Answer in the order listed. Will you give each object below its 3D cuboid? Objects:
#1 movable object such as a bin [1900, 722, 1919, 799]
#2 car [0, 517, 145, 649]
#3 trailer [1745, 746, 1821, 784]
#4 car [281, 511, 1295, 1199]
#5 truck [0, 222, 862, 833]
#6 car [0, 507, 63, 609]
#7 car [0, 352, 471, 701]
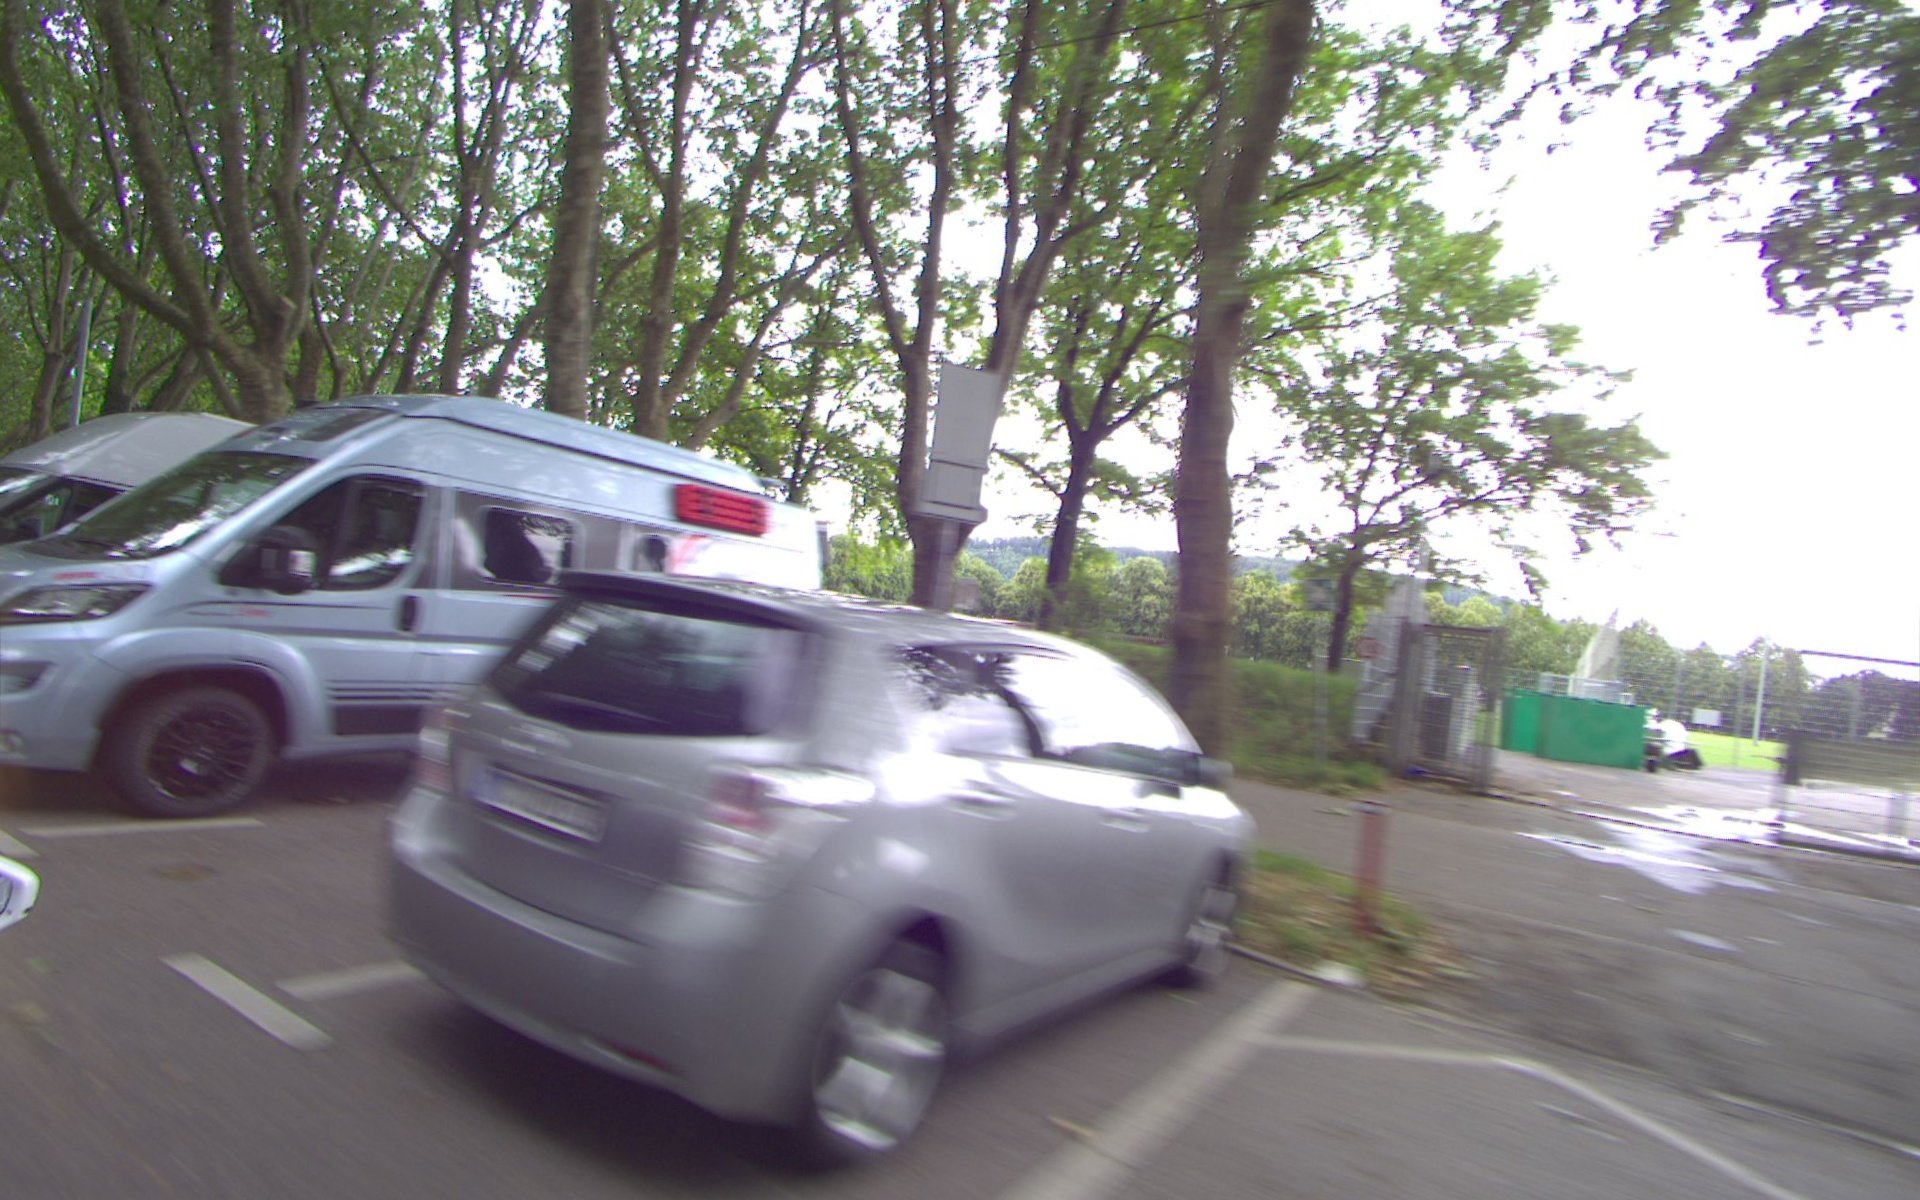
[{"bbox_3d":[23.916,3.944,23.142,2.786,1.787,1.650,7,-2,10],"label":"movable object such as a bin"},{"bbox_3d":[-12.608,-0.433,11.935,1.675,1.443,4.131,6,-5,33],"label":"car"},{"bbox_3d":[20.712,4.124,25.382,1.190,0.698,2.874,6,-3,35],"label":"trailer"},{"bbox_3d":[-0.094,0.886,4.458,1.775,1.635,4.349,6,-4,34],"label":"car"},{"bbox_3d":[-3.583,-0.075,7.693,2.063,2.745,6.309,6,-3,31],"label":"truck"},{"bbox_3d":[-16.619,-0.918,15.236,1.784,1.543,4.055,6,-3,29],"label":"car"},{"bbox_3d":[-8.037,-0.581,9.980,1.925,2.719,5.241,6,-3,32],"label":"car"}]
